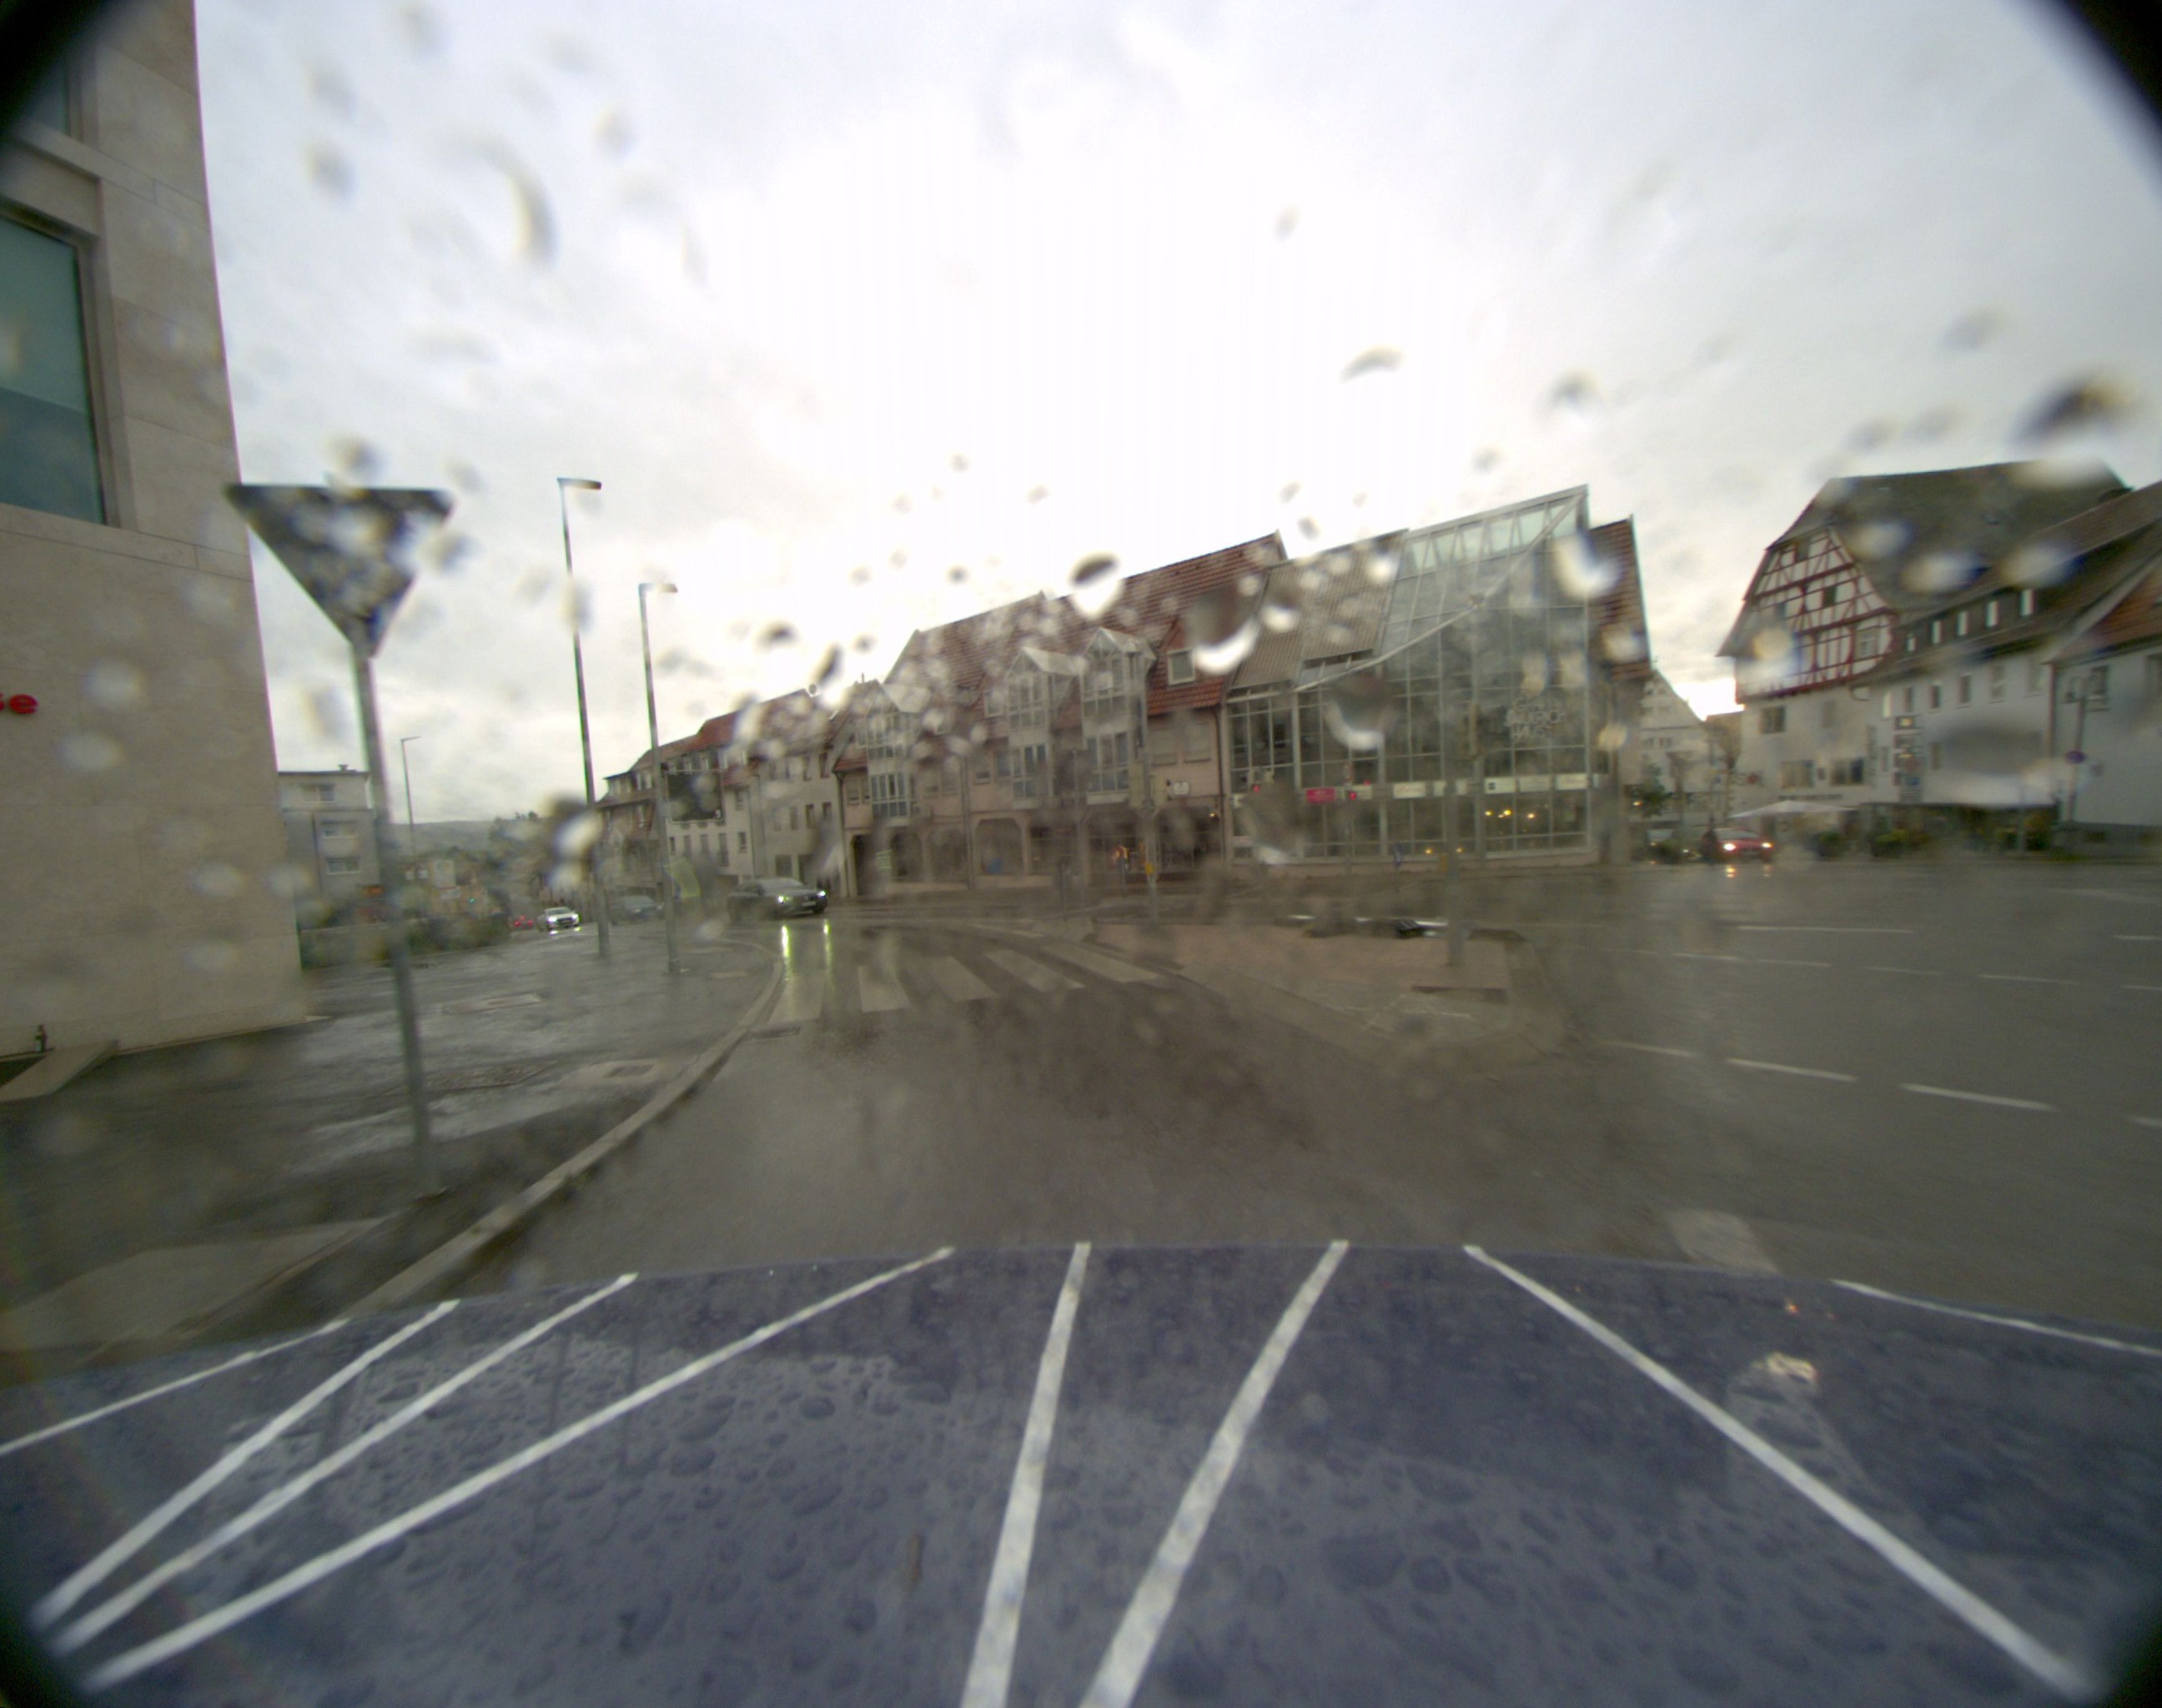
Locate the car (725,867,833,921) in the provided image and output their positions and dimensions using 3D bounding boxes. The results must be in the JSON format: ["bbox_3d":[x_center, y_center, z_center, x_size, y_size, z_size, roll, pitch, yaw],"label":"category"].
[{"bbox_3d":[-11.071,1.499,27.659,1.972,1.549,4.612,-7,0,-43],"label":"car"}]

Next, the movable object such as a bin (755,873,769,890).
[{"bbox_3d":[-20.657,1.793,49.182,0.584,1.001,0.510,-7,1,42],"label":"movable object such as a bin"}]

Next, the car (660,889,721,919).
[{"bbox_3d":[-22.923,2.936,44.549,3.990,1.458,1.896,-6,-1,44],"label":"car"}]

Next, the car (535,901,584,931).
[{"bbox_3d":[-34.770,4.147,50.624,1.972,1.598,4.374,-7,-1,-43],"label":"car"}]

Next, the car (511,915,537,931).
[{"bbox_3d":[-58.667,7.264,79.953,3.441,1.526,1.567,-7,-1,44],"label":"car"}]

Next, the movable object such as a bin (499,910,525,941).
[{"bbox_3d":[-21.526,2.701,28.736,0.598,1.056,0.577,-7,0,-45],"label":"movable object such as a bin"}]

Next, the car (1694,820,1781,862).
[{"bbox_3d":[26.681,-0.577,31.007,1.741,1.498,3.689,-4,0,26],"label":"car"}]

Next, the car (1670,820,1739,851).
[{"bbox_3d":[29.182,-0.895,35.679,1.741,1.281,3.237,-4,0,26],"label":"car"}]

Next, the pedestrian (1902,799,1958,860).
[{"bbox_3d":[27.864,-0.789,24.940,0.785,1.927,0.982,-5,1,-27],"label":"pedestrian"}]

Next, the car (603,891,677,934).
[{"bbox_3d":[-23.048,3.085,39.663,4.374,1.759,1.972,-8,-1,43],"label":"car"}]
